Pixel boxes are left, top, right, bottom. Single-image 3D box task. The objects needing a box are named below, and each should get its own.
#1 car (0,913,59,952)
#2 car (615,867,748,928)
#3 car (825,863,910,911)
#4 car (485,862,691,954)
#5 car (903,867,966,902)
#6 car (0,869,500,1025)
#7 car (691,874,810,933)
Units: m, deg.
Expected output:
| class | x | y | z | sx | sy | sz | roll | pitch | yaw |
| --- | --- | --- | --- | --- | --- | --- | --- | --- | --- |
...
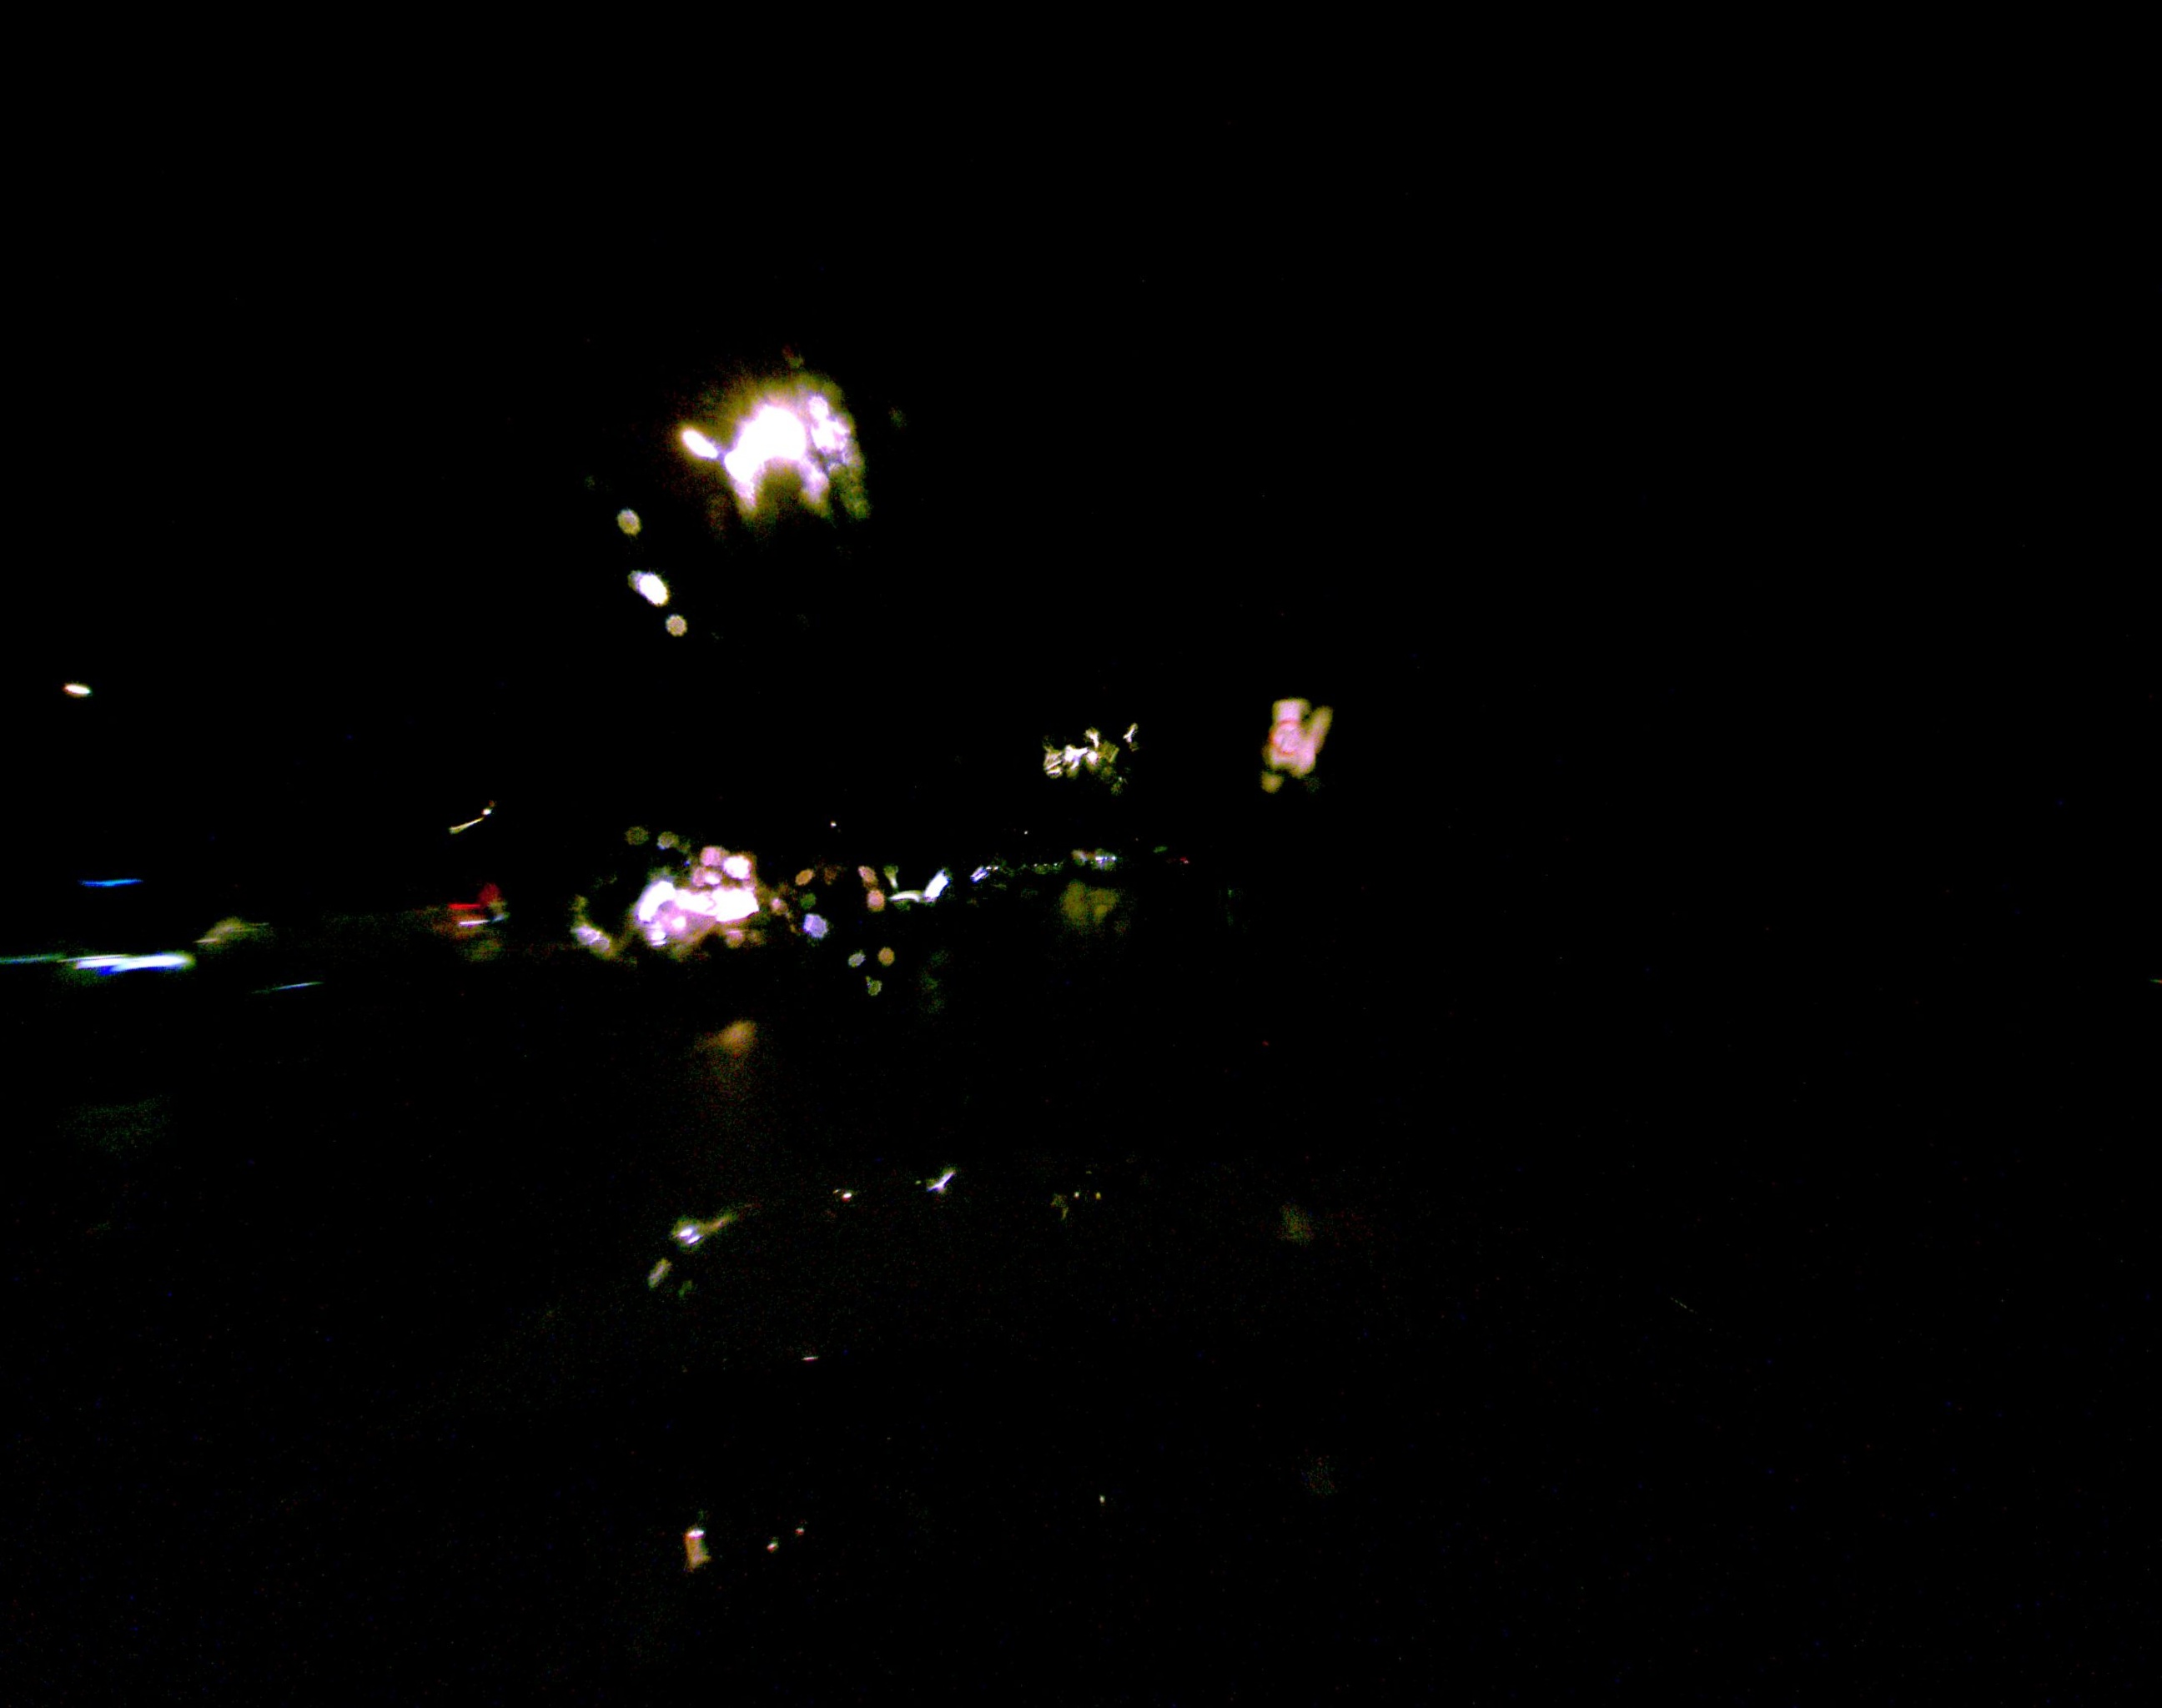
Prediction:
| class | x | y | z | sx | sy | sz | roll | pitch | yaw |
| --- | --- | --- | --- | --- | --- | --- | --- | --- | --- |
| car | -52.867 | 3.851 | 39.208 | 1.977 | 1.783 | 4.120 | -2 | -2 | 19 |
| car | -12.447 | 1.317 | 25.678 | 1.984 | 1.720 | 4.004 | -2 | -2 | 4 |
| car | -8.109 | 1.238 | 31.320 | 1.708 | 1.703 | 4.151 | -2 | -2 | 7 |
| car | -10.146 | 1.067 | 17.144 | 1.673 | 1.691 | 3.953 | -2 | -2 | 5 |
| car | -7.002 | 1.441 | 39.352 | 1.699 | 1.534 | 4.608 | -2 | -2 | 7 |
| car | -10.446 | 1.025 | 10.843 | 1.690 | 1.571 | 4.719 | -2 | -1 | 6 |
| car | -9.297 | 1.360 | 23.221 | 1.577 | 1.526 | 3.658 | -2 | -2 | 6 |
